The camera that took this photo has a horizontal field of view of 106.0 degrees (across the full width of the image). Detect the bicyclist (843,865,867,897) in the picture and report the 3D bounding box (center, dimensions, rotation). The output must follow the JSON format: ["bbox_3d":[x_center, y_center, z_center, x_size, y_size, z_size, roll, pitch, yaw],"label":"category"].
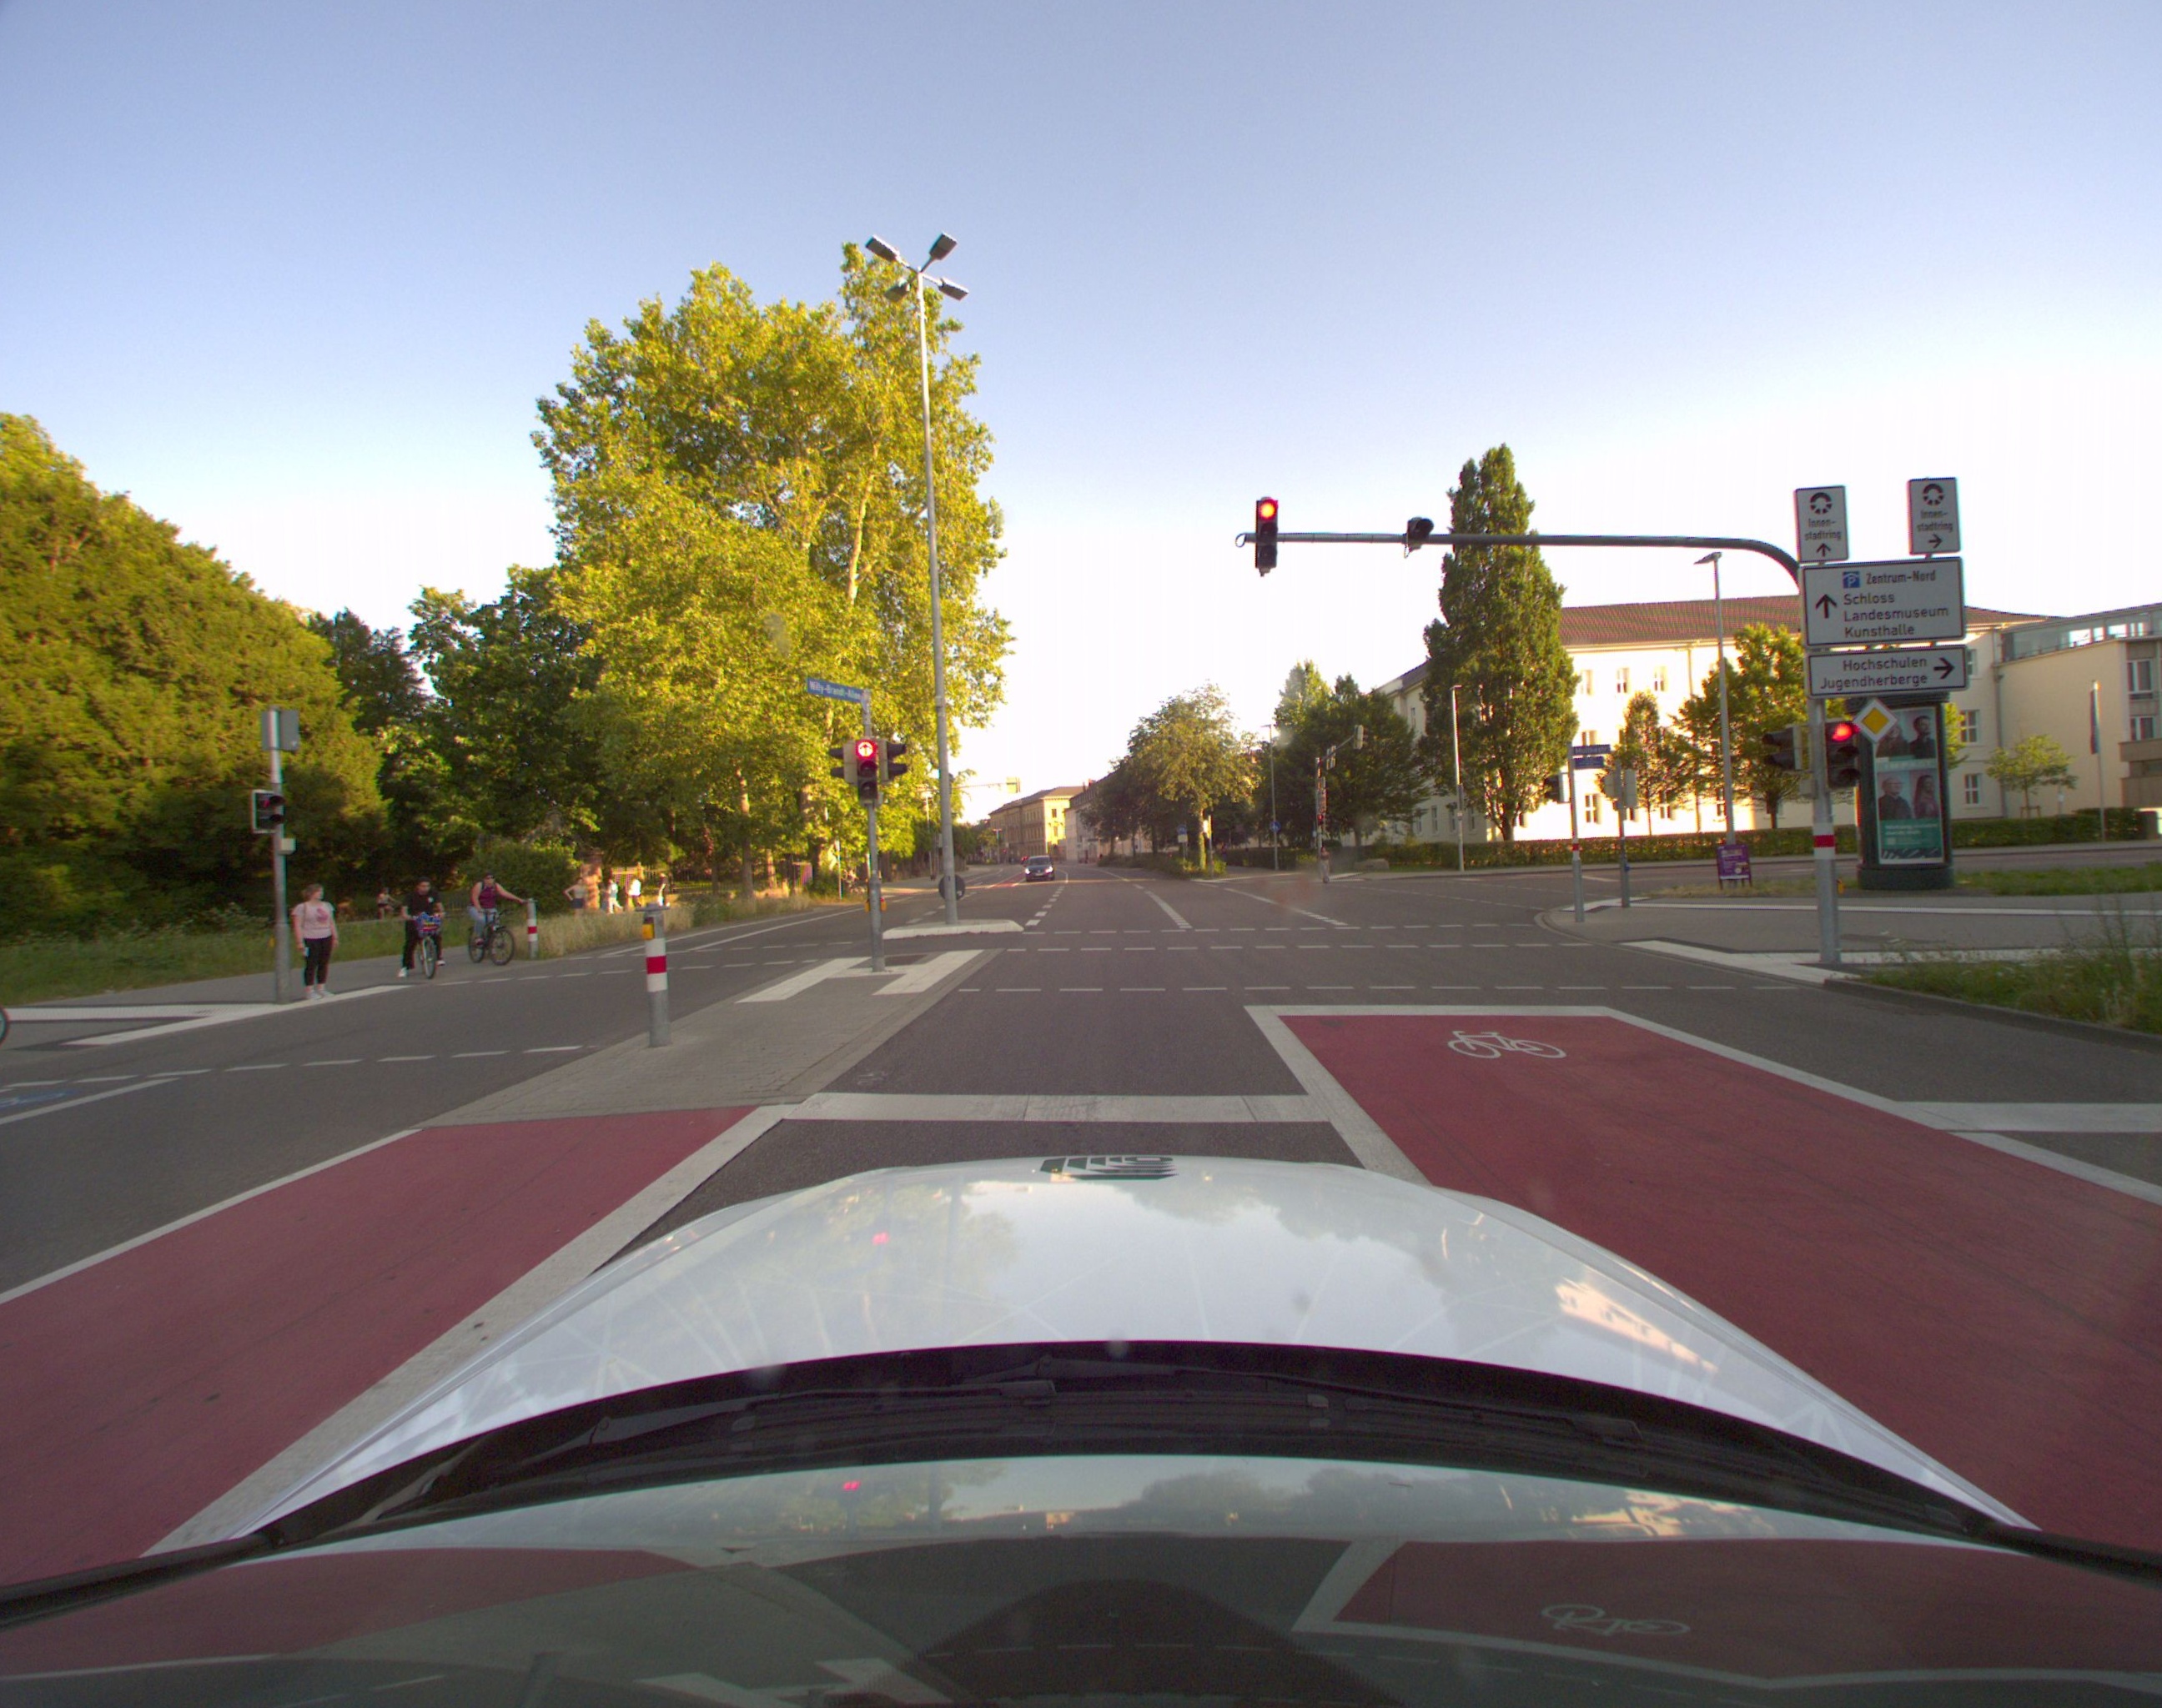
[{"bbox_3d":[-12.075,1.440,43.527,0.954,1.631,0.753,-3,0,2],"label":"bicyclist"}]

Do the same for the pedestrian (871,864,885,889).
[{"bbox_3d":[-12.931,1.428,51.891,0.597,1.573,0.646,-3,0,1],"label":"pedestrian"}]

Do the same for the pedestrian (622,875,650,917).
[{"bbox_3d":[-21.949,2.064,40.215,0.758,2.013,1.076,-2,0,-3],"label":"pedestrian"}]

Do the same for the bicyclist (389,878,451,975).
[{"bbox_3d":[-11.848,1.285,14.599,0.631,1.649,0.634,-3,0,32],"label":"bicyclist"}]

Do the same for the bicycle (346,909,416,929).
[{"bbox_3d":[-31.213,2.881,36.329,2.307,0.691,0.666,-3,0,-12],"label":"bicycle"}]

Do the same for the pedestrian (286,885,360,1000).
[{"bbox_3d":[-11.707,1.345,12.583,0.604,1.695,0.499,-3,0,3],"label":"pedestrian"}]

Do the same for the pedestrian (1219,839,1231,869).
[{"bbox_3d":[9.881,-0.005,56.017,0.633,2.013,0.720,-2,0,-2],"label":"pedestrian"}]

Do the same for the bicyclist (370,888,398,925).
[{"bbox_3d":[-31.115,2.341,36.357,0.646,1.558,0.689,-3,0,-12],"label":"bicyclist"}]

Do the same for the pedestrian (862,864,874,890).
[{"bbox_3d":[-13.626,1.448,52.066,0.533,1.596,0.591,-3,0,1],"label":"pedestrian"}]

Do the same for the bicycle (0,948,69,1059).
[{"bbox_3d":[-12.433,1.656,8.778,2.107,1.100,0.773,-3,0,2],"label":"bicycle"}]

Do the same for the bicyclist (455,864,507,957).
[{"bbox_3d":[-11.996,1.119,16.283,0.631,1.780,0.580,-3,0,32],"label":"bicyclist"}]

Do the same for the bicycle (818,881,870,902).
[{"bbox_3d":[-12.156,1.935,41.819,2.420,0.924,0.775,-3,0,2],"label":"bicycle"}]

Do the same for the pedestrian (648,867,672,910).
[{"bbox_3d":[-20.374,1.662,39.389,0.636,2.013,0.703,-3,0,10],"label":"pedestrian"}]

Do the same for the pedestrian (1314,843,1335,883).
[{"bbox_3d":[10.242,0.362,34.265,0.598,1.636,0.691,-2,0,-3],"label":"pedestrian"}]

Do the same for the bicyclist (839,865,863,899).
[{"bbox_3d":[-11.799,1.429,41.813,0.954,1.631,0.753,-3,0,2],"label":"bicyclist"}]

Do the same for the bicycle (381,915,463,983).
[{"bbox_3d":[-11.806,1.669,14.581,1.548,1.111,0.637,-3,0,32],"label":"bicycle"}]

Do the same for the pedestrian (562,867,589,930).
[{"bbox_3d":[-16.476,1.432,26.535,0.654,2.013,0.599,-1,0,-37],"label":"pedestrian"}]

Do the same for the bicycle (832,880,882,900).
[{"bbox_3d":[-11.964,1.926,43.510,2.420,0.924,0.775,-3,0,2],"label":"bicycle"}]

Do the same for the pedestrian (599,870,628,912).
[{"bbox_3d":[-22.709,1.788,39.582,0.799,2.013,0.994,-2,0,1],"label":"pedestrian"}]

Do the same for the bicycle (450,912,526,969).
[{"bbox_3d":[-11.774,1.695,16.142,1.749,1.030,0.583,-3,0,32],"label":"bicycle"}]

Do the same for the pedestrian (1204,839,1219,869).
[{"bbox_3d":[8.887,0.016,55.443,0.867,2.013,0.723,-2,0,1],"label":"pedestrian"}]

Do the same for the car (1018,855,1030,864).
[{"bbox_3d":[-11.937,1.153,171.270,1.821,1.588,3.983,-4,0,-12],"label":"car"}]

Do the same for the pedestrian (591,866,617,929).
[{"bbox_3d":[-15.497,1.401,26.471,0.598,2.013,0.634,-1,0,-38],"label":"pedestrian"}]

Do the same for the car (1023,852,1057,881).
[{"bbox_3d":[-2.628,0.767,52.824,1.843,1.720,4.296,-3,0,1],"label":"car"}]
